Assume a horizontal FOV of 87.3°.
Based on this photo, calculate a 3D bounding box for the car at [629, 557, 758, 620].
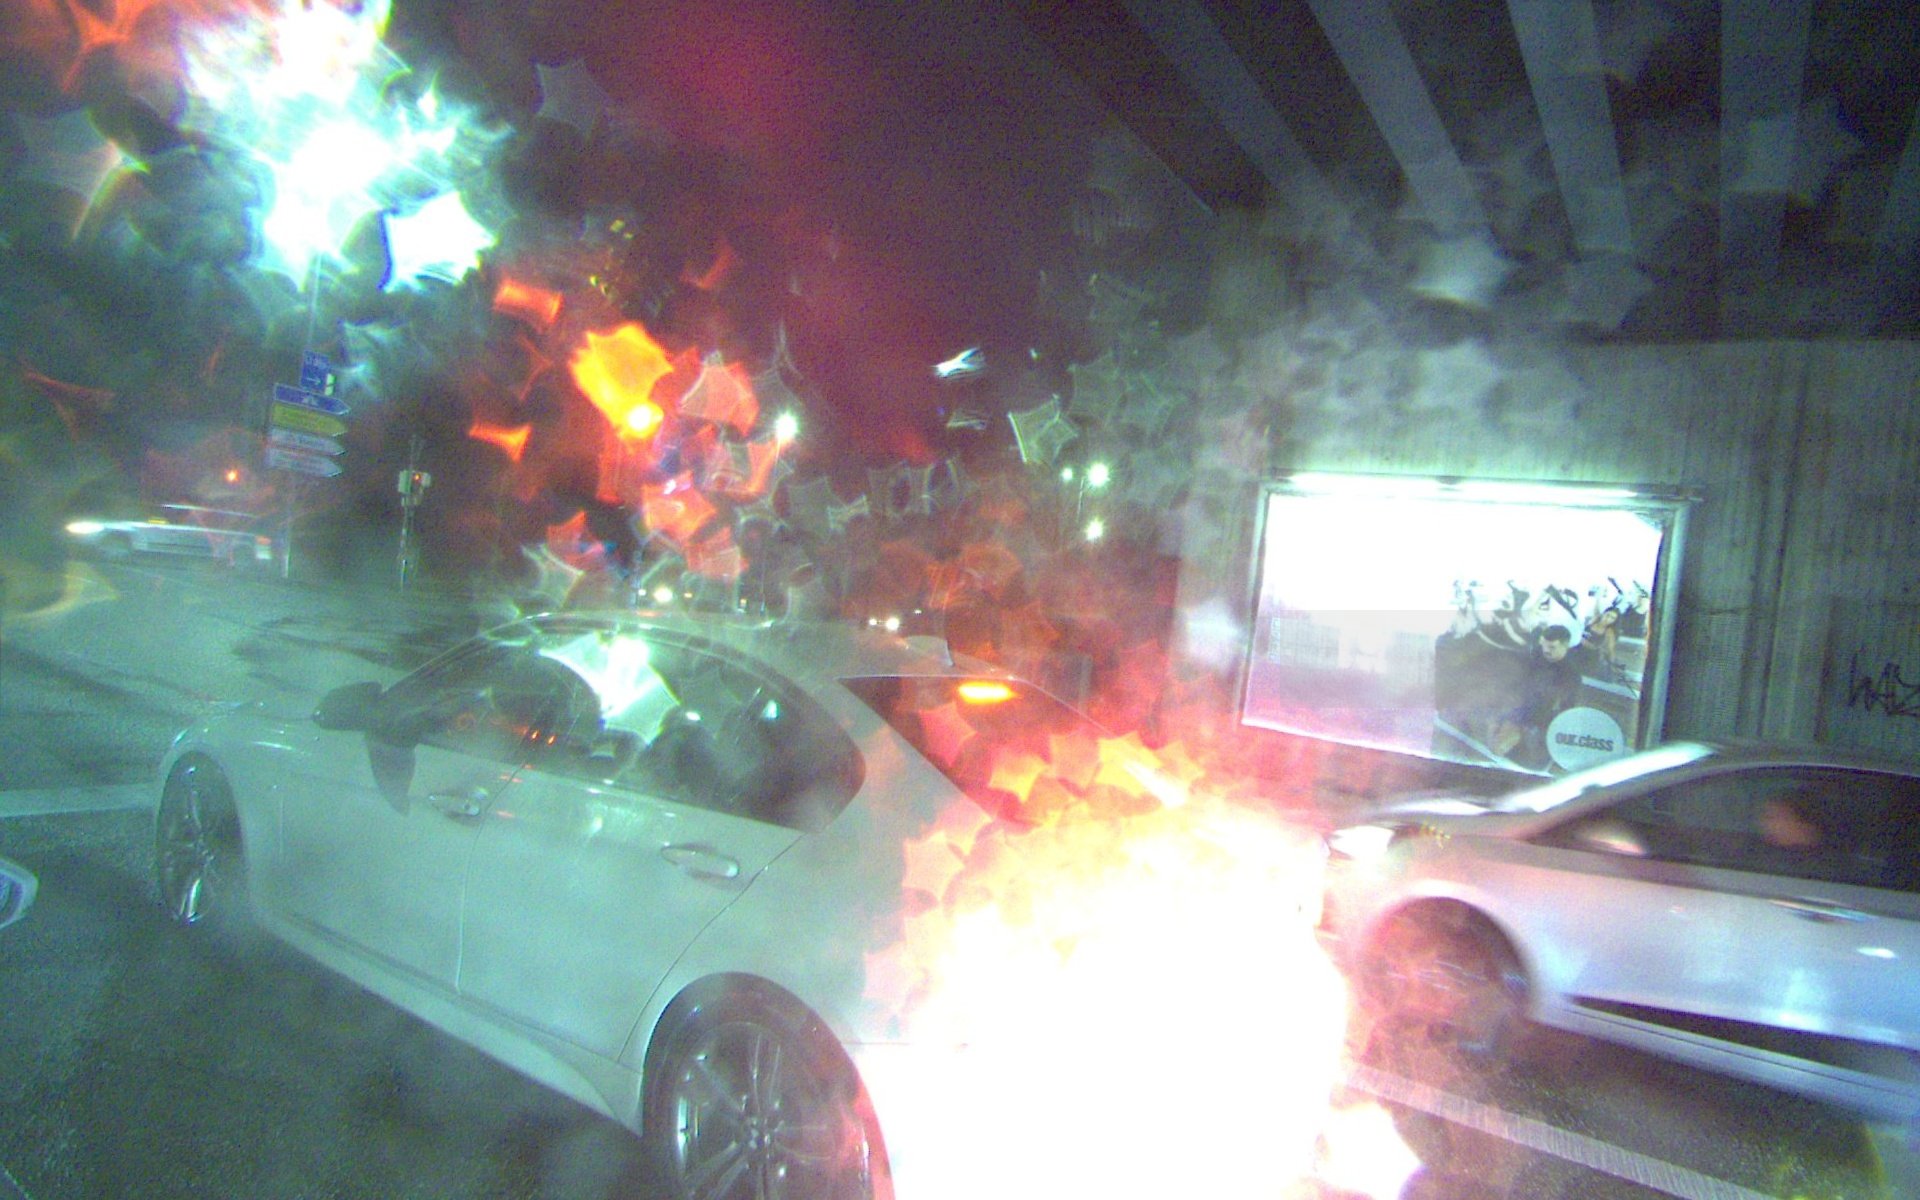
[{"bbox_3d":[-10.140,-0.401,38.567,1.831,1.769,4.496,6,-2,35],"label":"car"}]

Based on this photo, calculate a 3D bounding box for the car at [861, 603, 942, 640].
[{"bbox_3d":[-2.841,1.074,49.694,1.883,1.606,4.070,0,-4,34],"label":"car"}]

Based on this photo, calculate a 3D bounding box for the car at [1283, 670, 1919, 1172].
[{"bbox_3d":[3.486,1.303,4.429,3.533,1.476,1.637,6,-2,31],"label":"car"}]

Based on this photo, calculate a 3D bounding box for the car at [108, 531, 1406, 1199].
[{"bbox_3d":[-0.952,0.719,3.491,4.277,1.420,1.720,6,-2,32],"label":"car"}]

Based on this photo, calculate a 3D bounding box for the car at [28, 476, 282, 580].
[{"bbox_3d":[-19.592,-1.696,24.698,1.879,1.761,4.390,6,-2,34],"label":"car"}]
